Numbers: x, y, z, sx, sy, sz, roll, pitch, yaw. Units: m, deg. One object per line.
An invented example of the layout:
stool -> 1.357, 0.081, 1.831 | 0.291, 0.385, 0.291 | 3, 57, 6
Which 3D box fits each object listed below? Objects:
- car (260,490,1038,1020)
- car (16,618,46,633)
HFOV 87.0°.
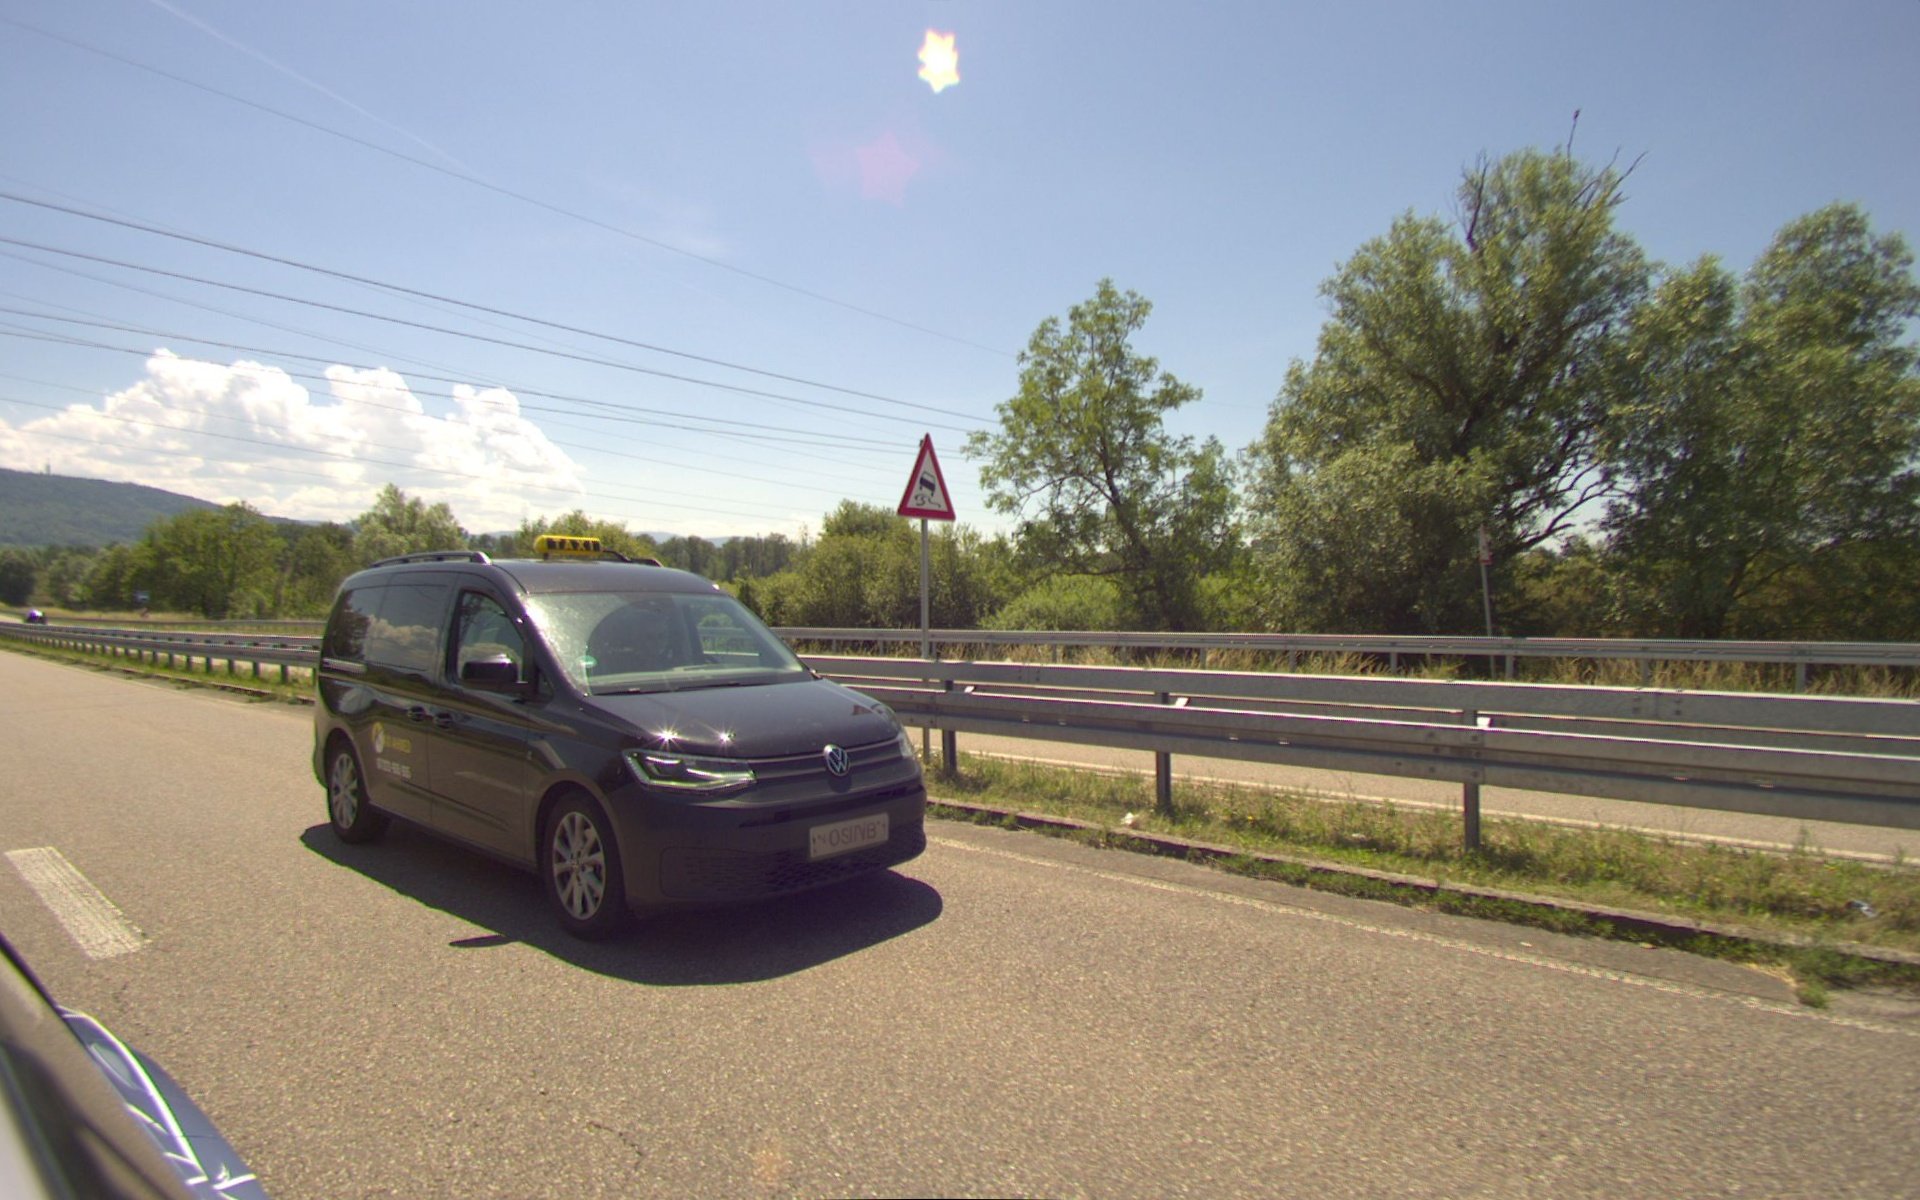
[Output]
car -> -2.320, 0.580, 6.156 | 5.569, 1.901, 1.835 | -1, -1, 40
car -> -95.589, 2.620, 104.066 | 4.679, 1.423, 1.825 | -1, 0, 42
